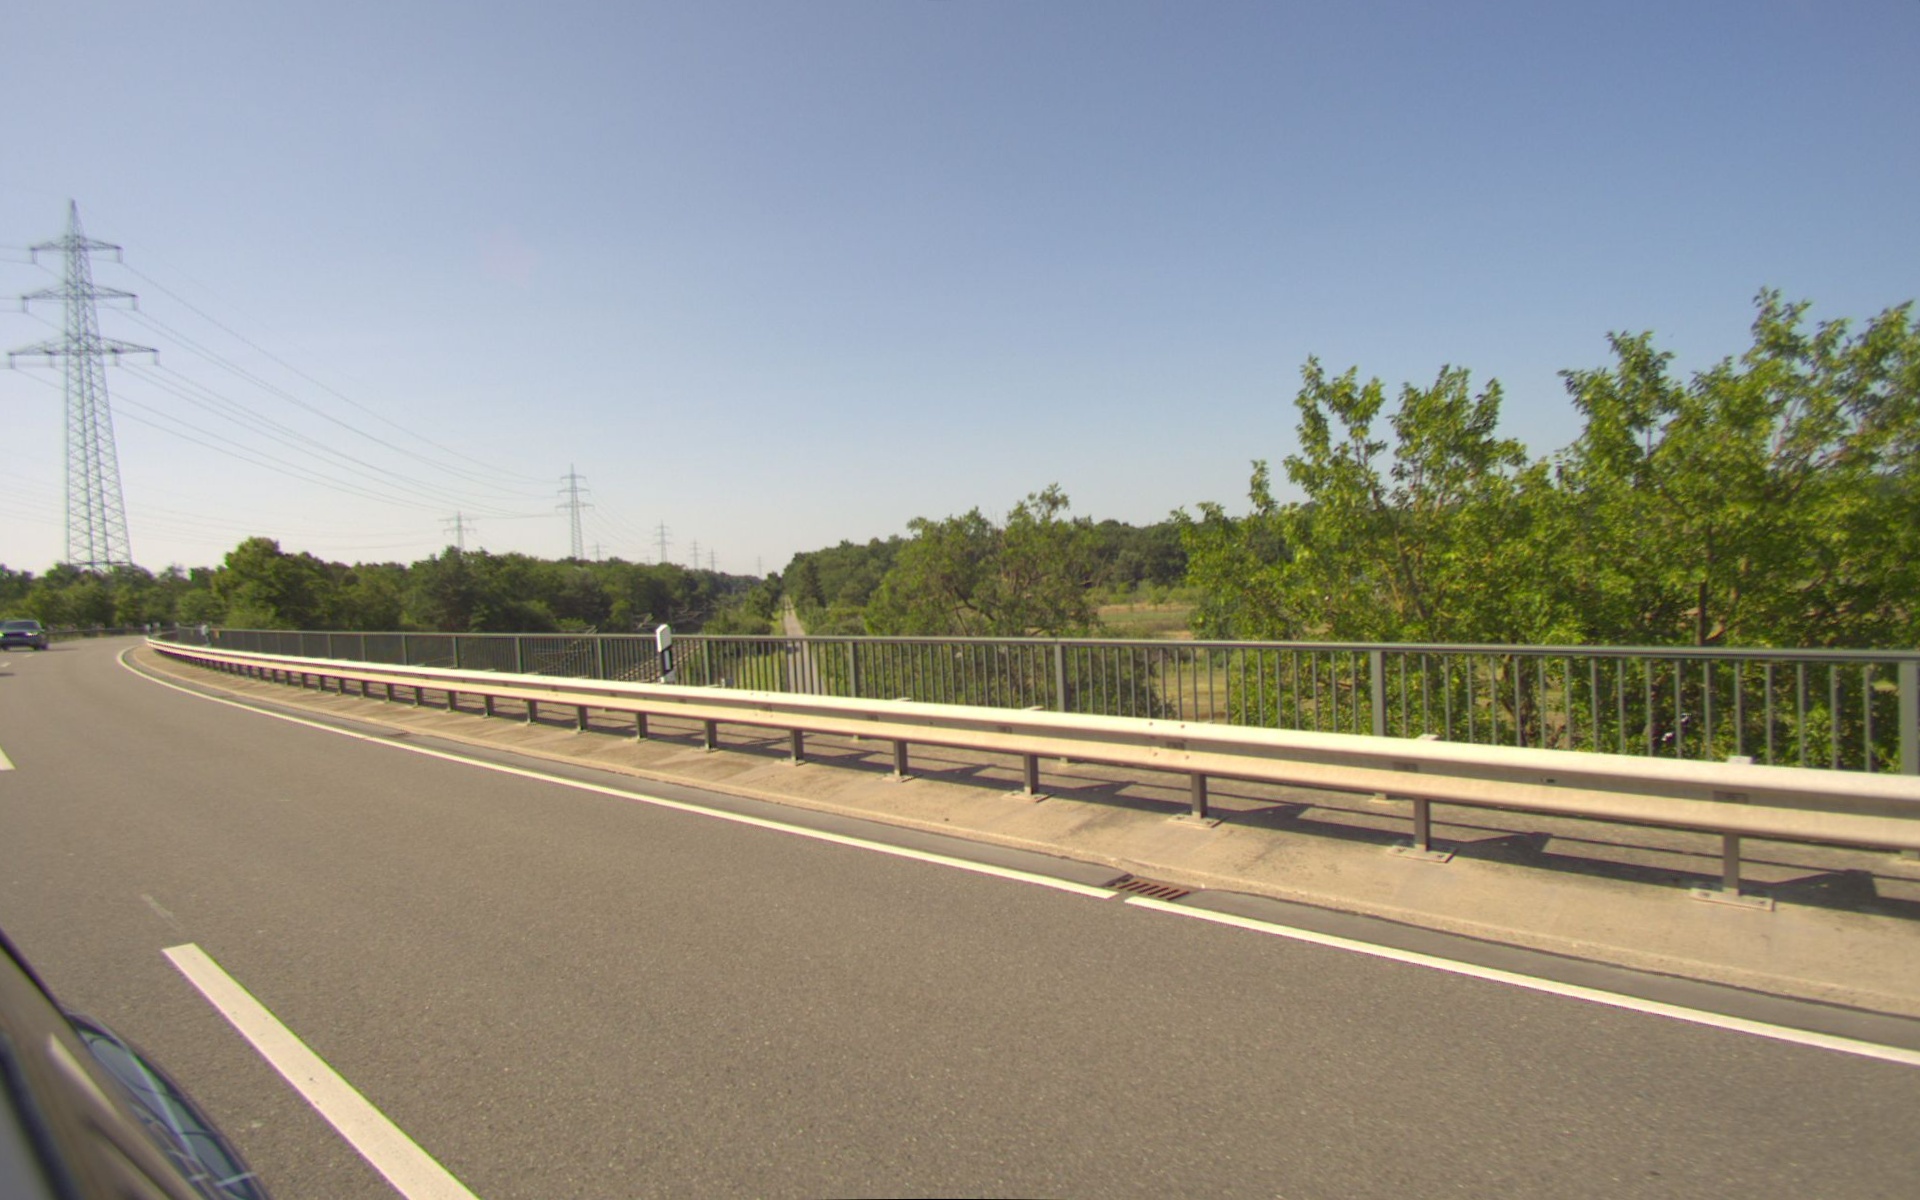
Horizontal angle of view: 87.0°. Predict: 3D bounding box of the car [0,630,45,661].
[{"bbox_3d":[-50.910,2.439,54.800,1.582,1.506,4.009,-1,1,-37],"label":"car"}]
